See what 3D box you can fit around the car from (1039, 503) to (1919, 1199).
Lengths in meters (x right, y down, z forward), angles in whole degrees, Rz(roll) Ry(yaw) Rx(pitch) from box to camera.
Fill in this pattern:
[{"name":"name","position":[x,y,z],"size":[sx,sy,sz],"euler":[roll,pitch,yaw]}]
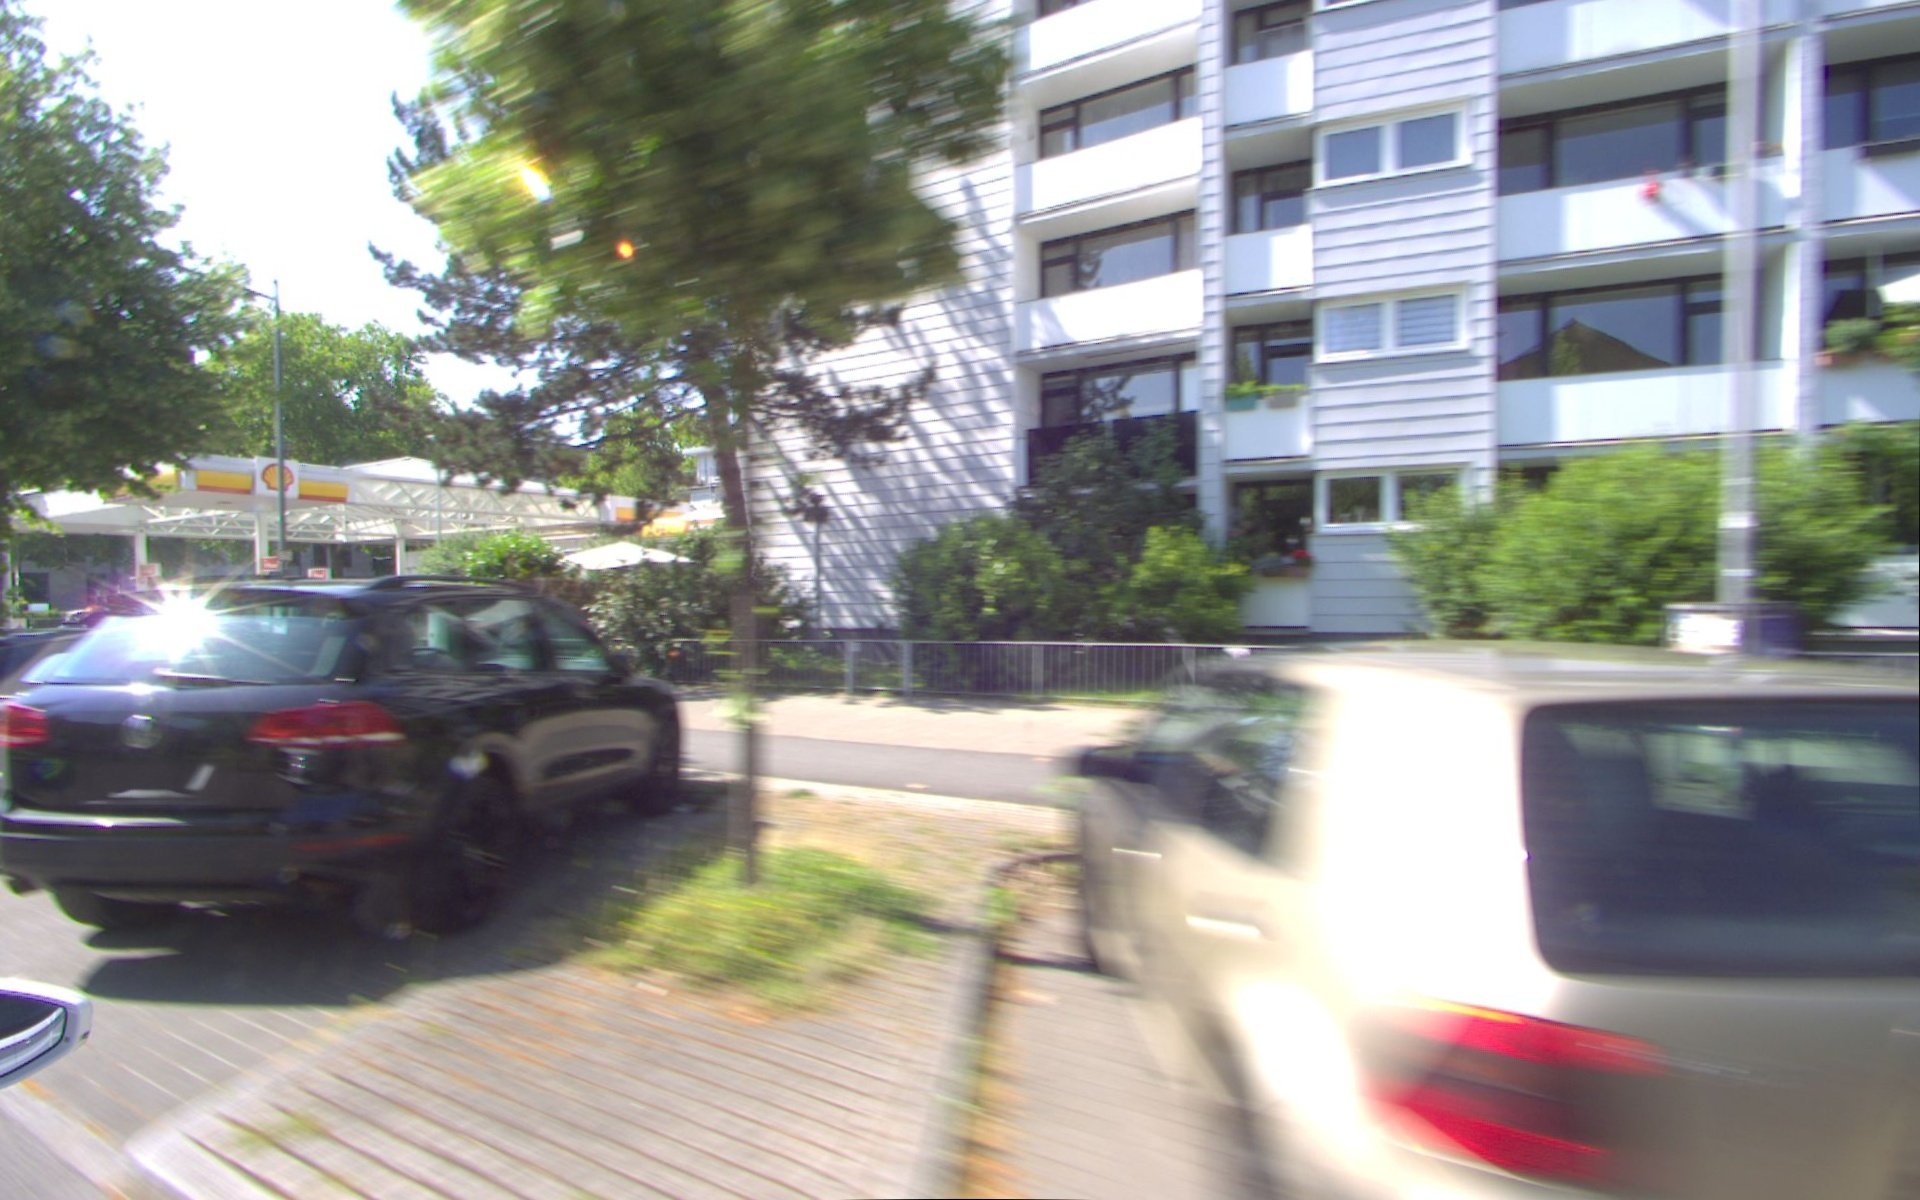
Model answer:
[{"name":"car","position":[1.312,0.727,3.187],"size":[1.719,1.661,4.000],"euler":[-1,0,-1]}]

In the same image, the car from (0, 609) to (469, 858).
[{"name":"car","position":[-5.867,0.821,8.028],"size":[1.734,1.493,4.000],"euler":[0,0,3]}]

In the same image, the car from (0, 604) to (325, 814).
[{"name":"car","position":[-8.083,0.826,9.129],"size":[1.961,1.550,4.117],"euler":[0,0,0]}]

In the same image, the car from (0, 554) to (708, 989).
[{"name":"car","position":[-3.122,0.684,6.271],"size":[1.719,1.682,4.746],"euler":[0,0,2]}]

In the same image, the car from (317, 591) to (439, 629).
[{"name":"car","position":[-43.096,0.692,74.387],"size":[2.858,2.710,7.420],"euler":[0,0,29]}]

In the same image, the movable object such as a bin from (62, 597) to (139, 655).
[{"name":"movable object such as a bin","position":[-25.608,0.755,29.844],"size":[1.375,1.614,1.305],"euler":[0,3,30]}]

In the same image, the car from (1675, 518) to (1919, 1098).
[{"name":"car","position":[3.677,0.601,1.817],"size":[1.719,1.662,3.999],"euler":[0,0,-3]}]
